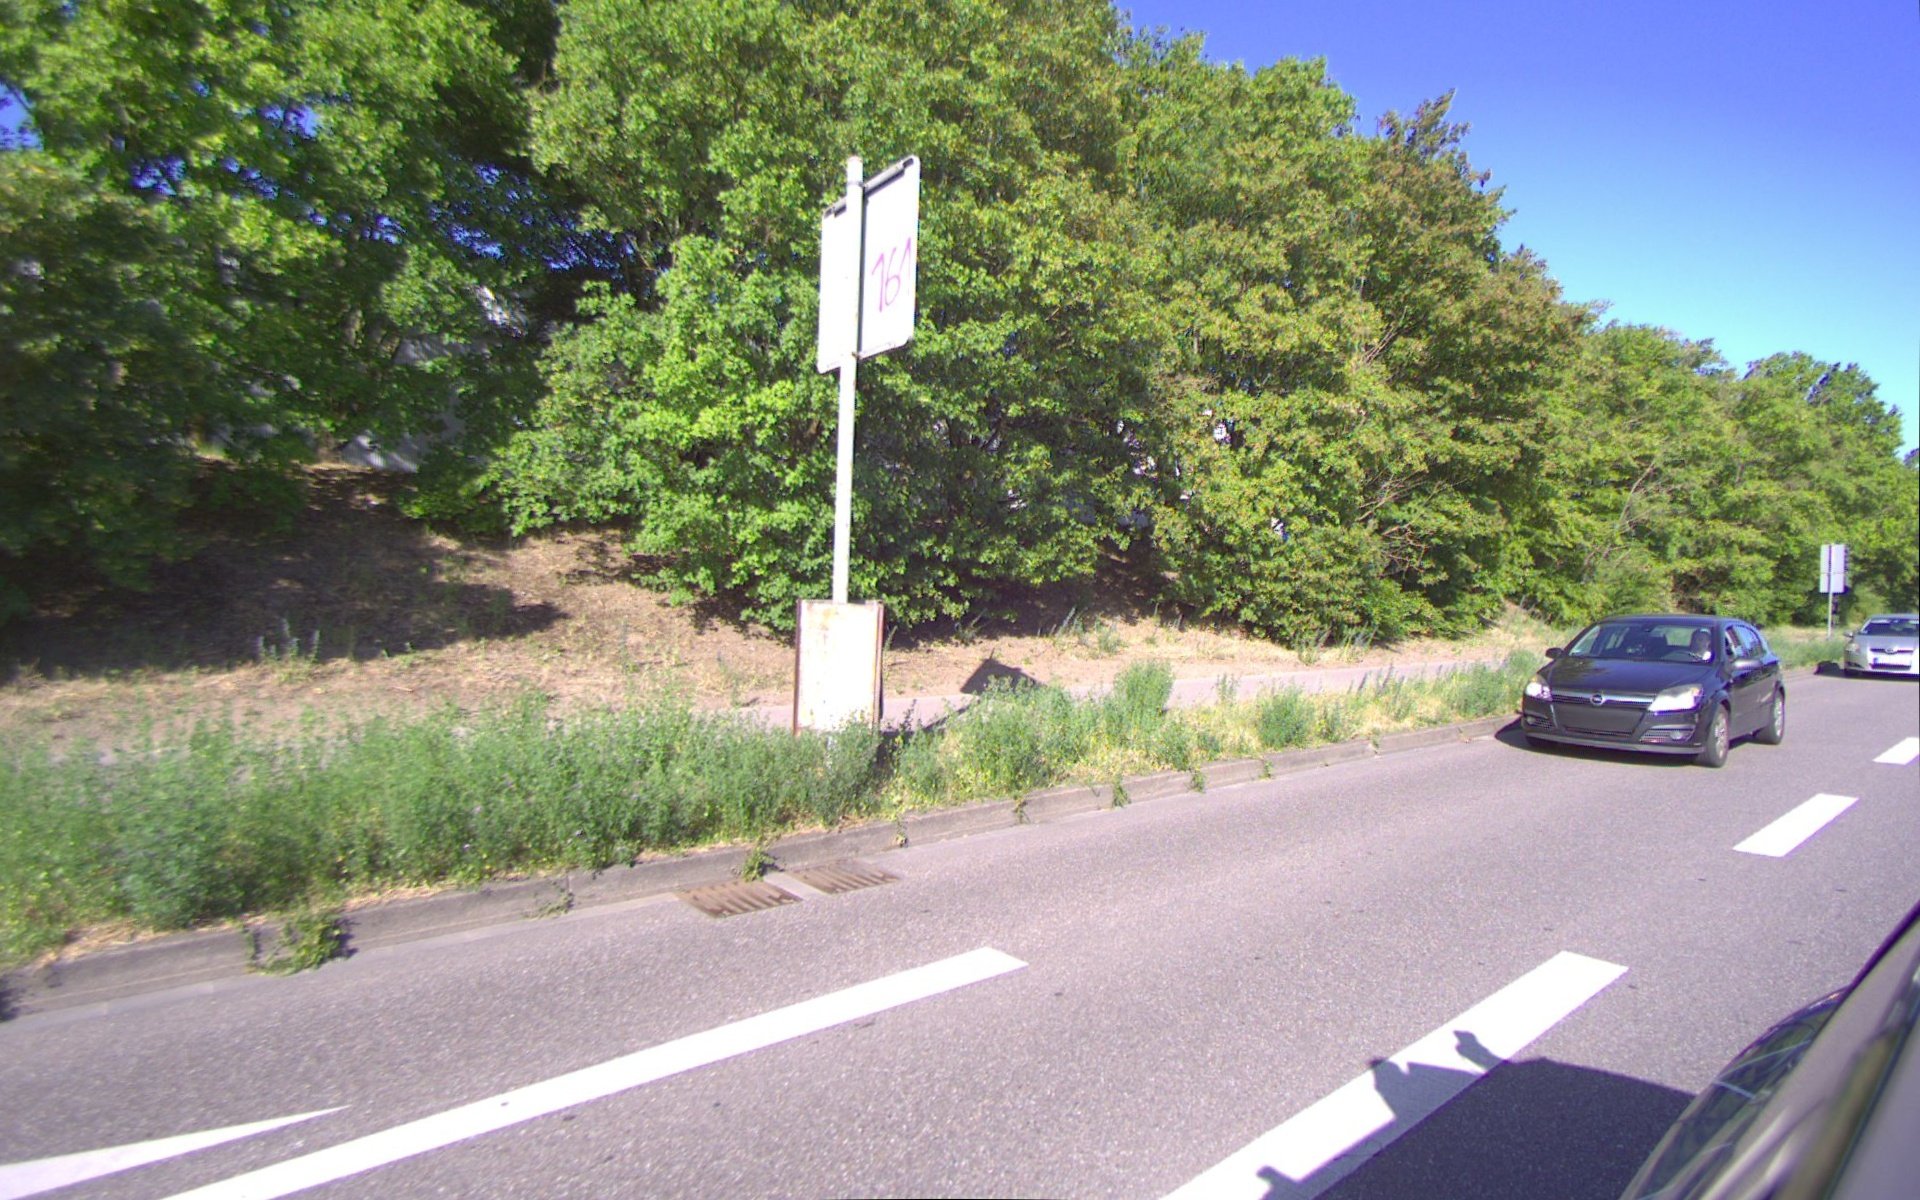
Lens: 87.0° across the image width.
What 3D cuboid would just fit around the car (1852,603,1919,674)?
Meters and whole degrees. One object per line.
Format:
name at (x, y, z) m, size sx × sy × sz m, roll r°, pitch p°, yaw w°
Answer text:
car at (22.407, 0.865, 23.676) m, size 4.036 × 1.556 × 1.786 m, roll 1°, pitch 0°, yaw -41°

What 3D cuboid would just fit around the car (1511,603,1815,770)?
car at (7.804, 0.774, 11.066) m, size 4.295 × 1.460 × 1.737 m, roll 0°, pitch 0°, yaw -41°
